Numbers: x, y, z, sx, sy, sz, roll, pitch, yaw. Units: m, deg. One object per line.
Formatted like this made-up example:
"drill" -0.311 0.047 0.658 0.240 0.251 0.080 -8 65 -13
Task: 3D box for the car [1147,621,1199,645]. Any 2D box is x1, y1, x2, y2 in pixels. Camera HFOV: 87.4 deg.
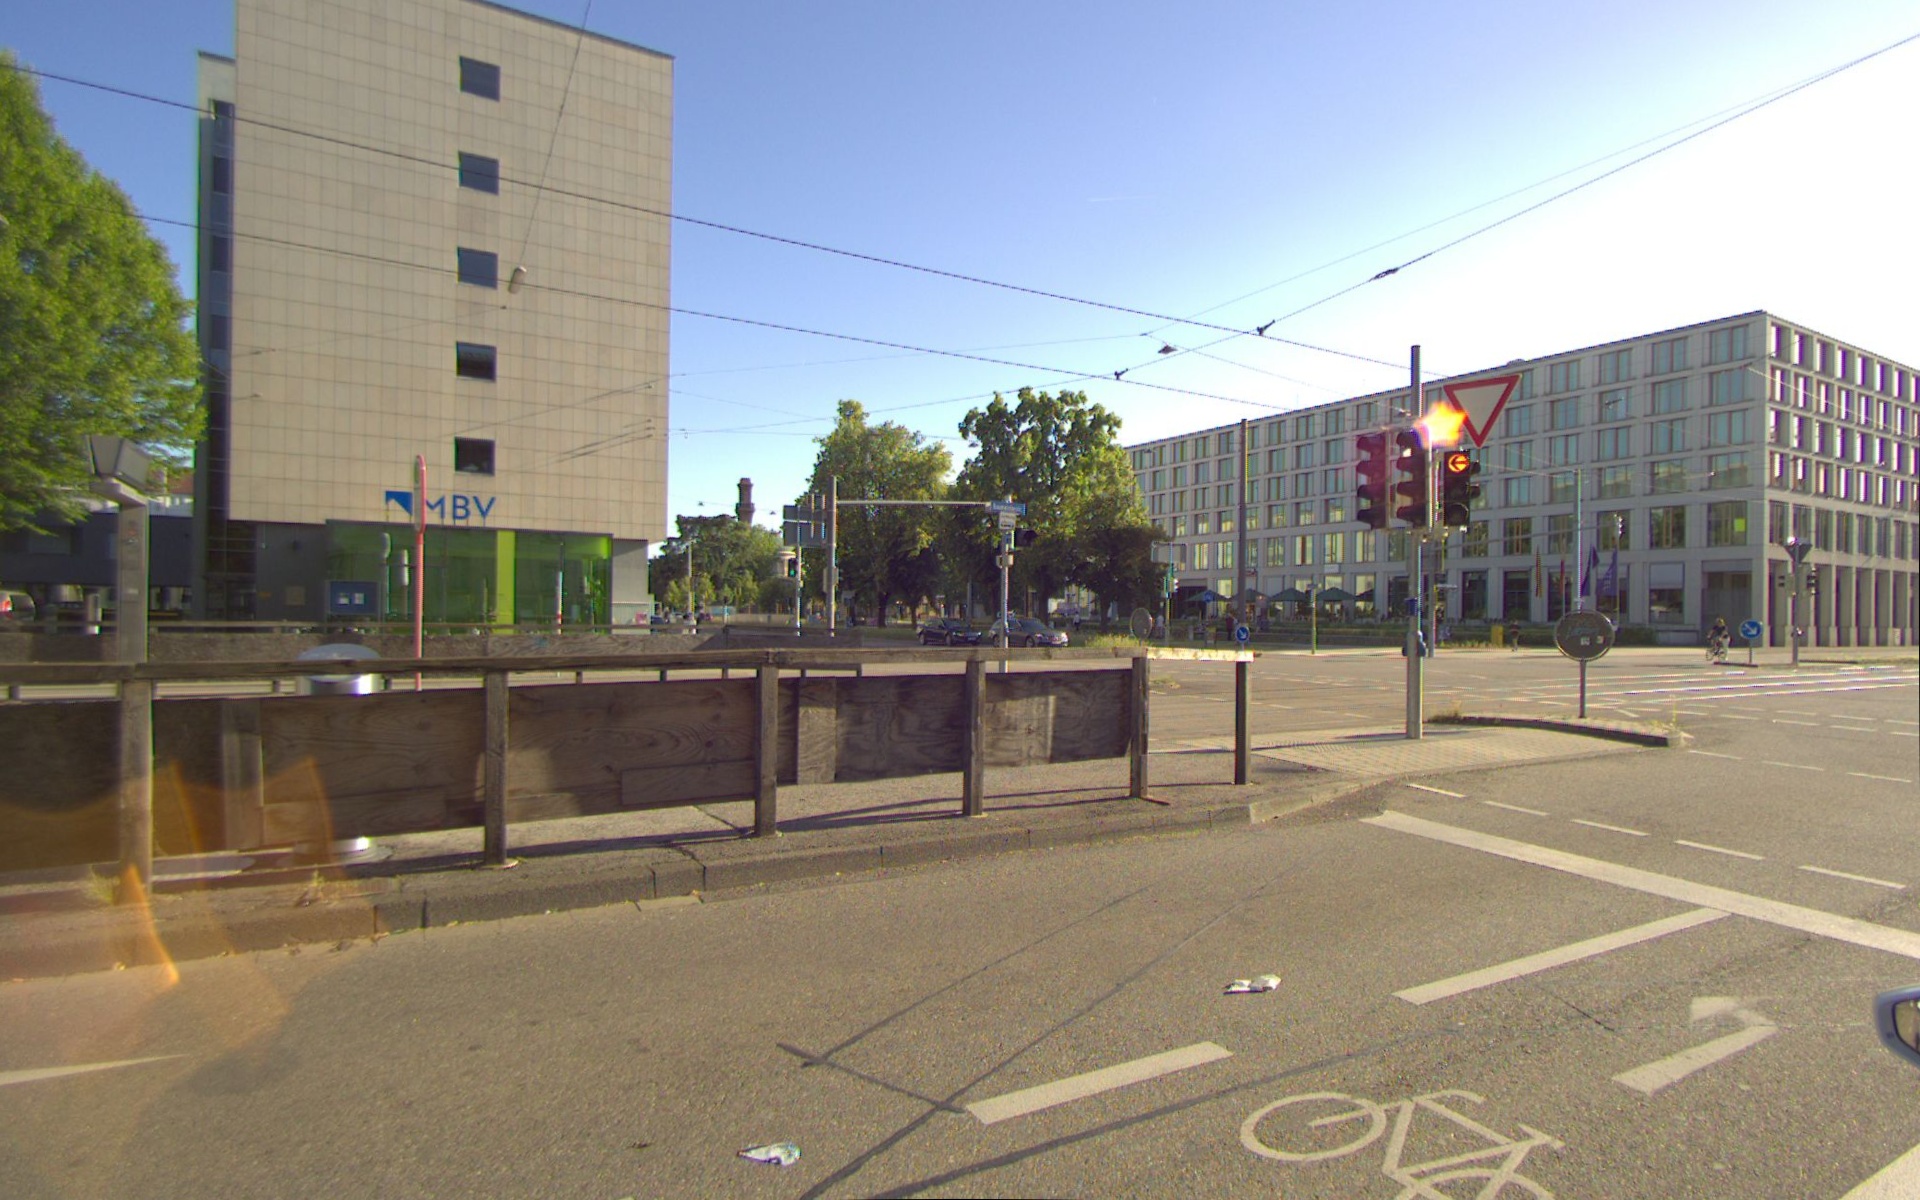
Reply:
"car" 13.373 2.072 63.286 1.455 1.457 3.168 1 -1 -31

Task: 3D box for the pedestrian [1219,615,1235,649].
"pedestrian" 16.485 1.957 61.944 0.644 2.095 0.645 2 -2 -36

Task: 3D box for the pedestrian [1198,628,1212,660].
"pedestrian" 16.087 2.871 65.915 0.793 2.040 0.526 1 -1 -36

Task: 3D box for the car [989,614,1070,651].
"car" 3.177 1.485 46.739 1.708 1.595 4.140 1 -1 -31

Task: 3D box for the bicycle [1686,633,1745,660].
"bicycle" 31.968 1.957 42.475 2.976 1.136 0.871 1 -1 -29

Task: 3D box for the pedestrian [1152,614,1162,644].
"pedestrian" 13.229 1.951 67.362 0.483 2.040 0.493 1 -1 -17

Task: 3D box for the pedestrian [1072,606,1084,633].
"pedestrian" 8.729 1.451 74.424 0.672 1.928 0.560 1 -1 -21

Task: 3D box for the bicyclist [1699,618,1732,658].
"bicyclist" 31.926 1.598 42.437 0.812 1.663 0.872 1 -1 -29

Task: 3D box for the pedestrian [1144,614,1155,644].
"pedestrian" 12.605 1.930 66.828 0.483 2.040 0.493 1 -1 -17

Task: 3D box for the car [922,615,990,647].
"car" -0.261 1.589 52.620 1.801 1.595 3.967 0 0 -31

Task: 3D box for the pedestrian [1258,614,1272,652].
"pedestrian" 18.604 1.986 61.278 0.528 2.310 0.565 1 -1 -36
